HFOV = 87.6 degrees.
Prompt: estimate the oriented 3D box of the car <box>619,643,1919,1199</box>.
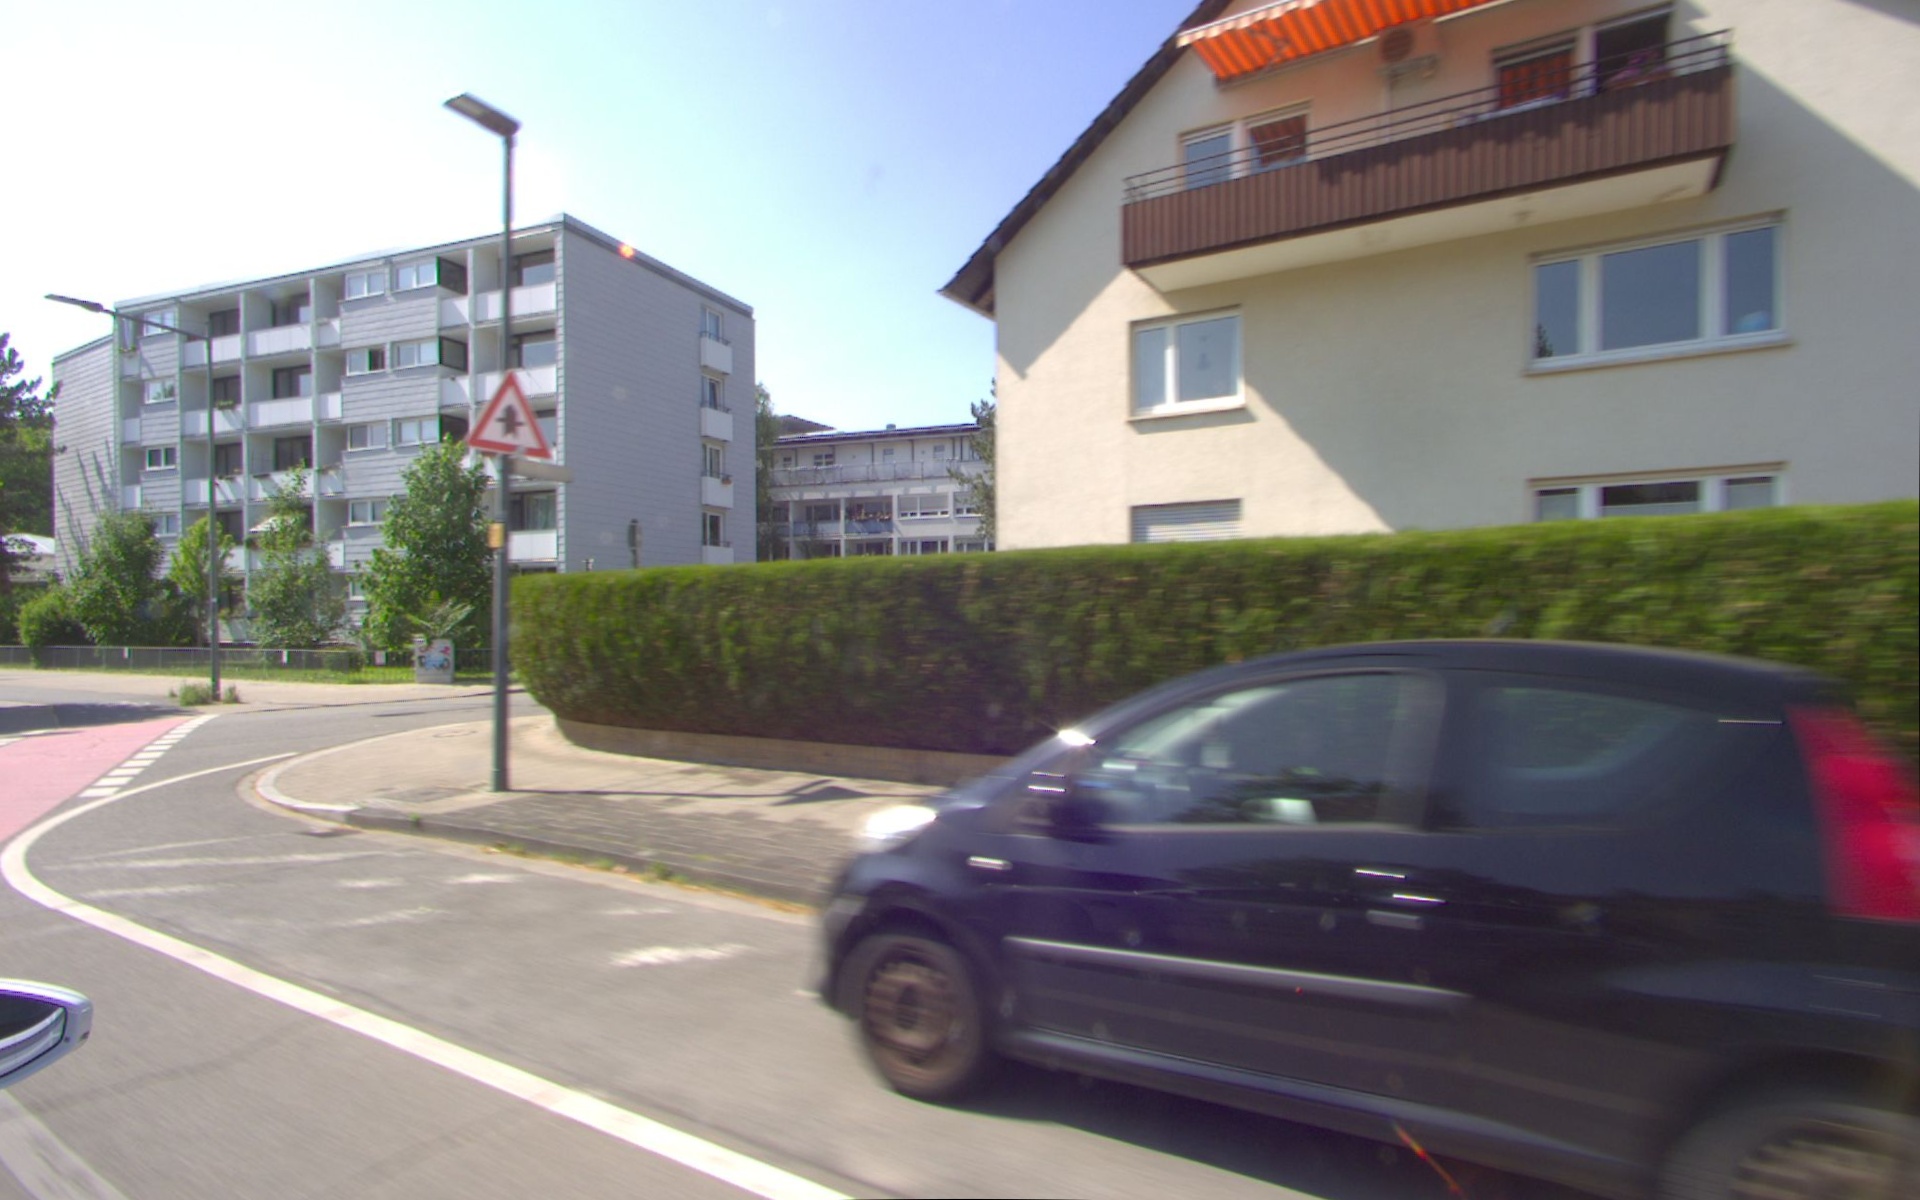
[{"bbox_3d":[0.791,0.861,3.502,3.942,1.407,1.615,-1,-2,31],"label":"car"}]
